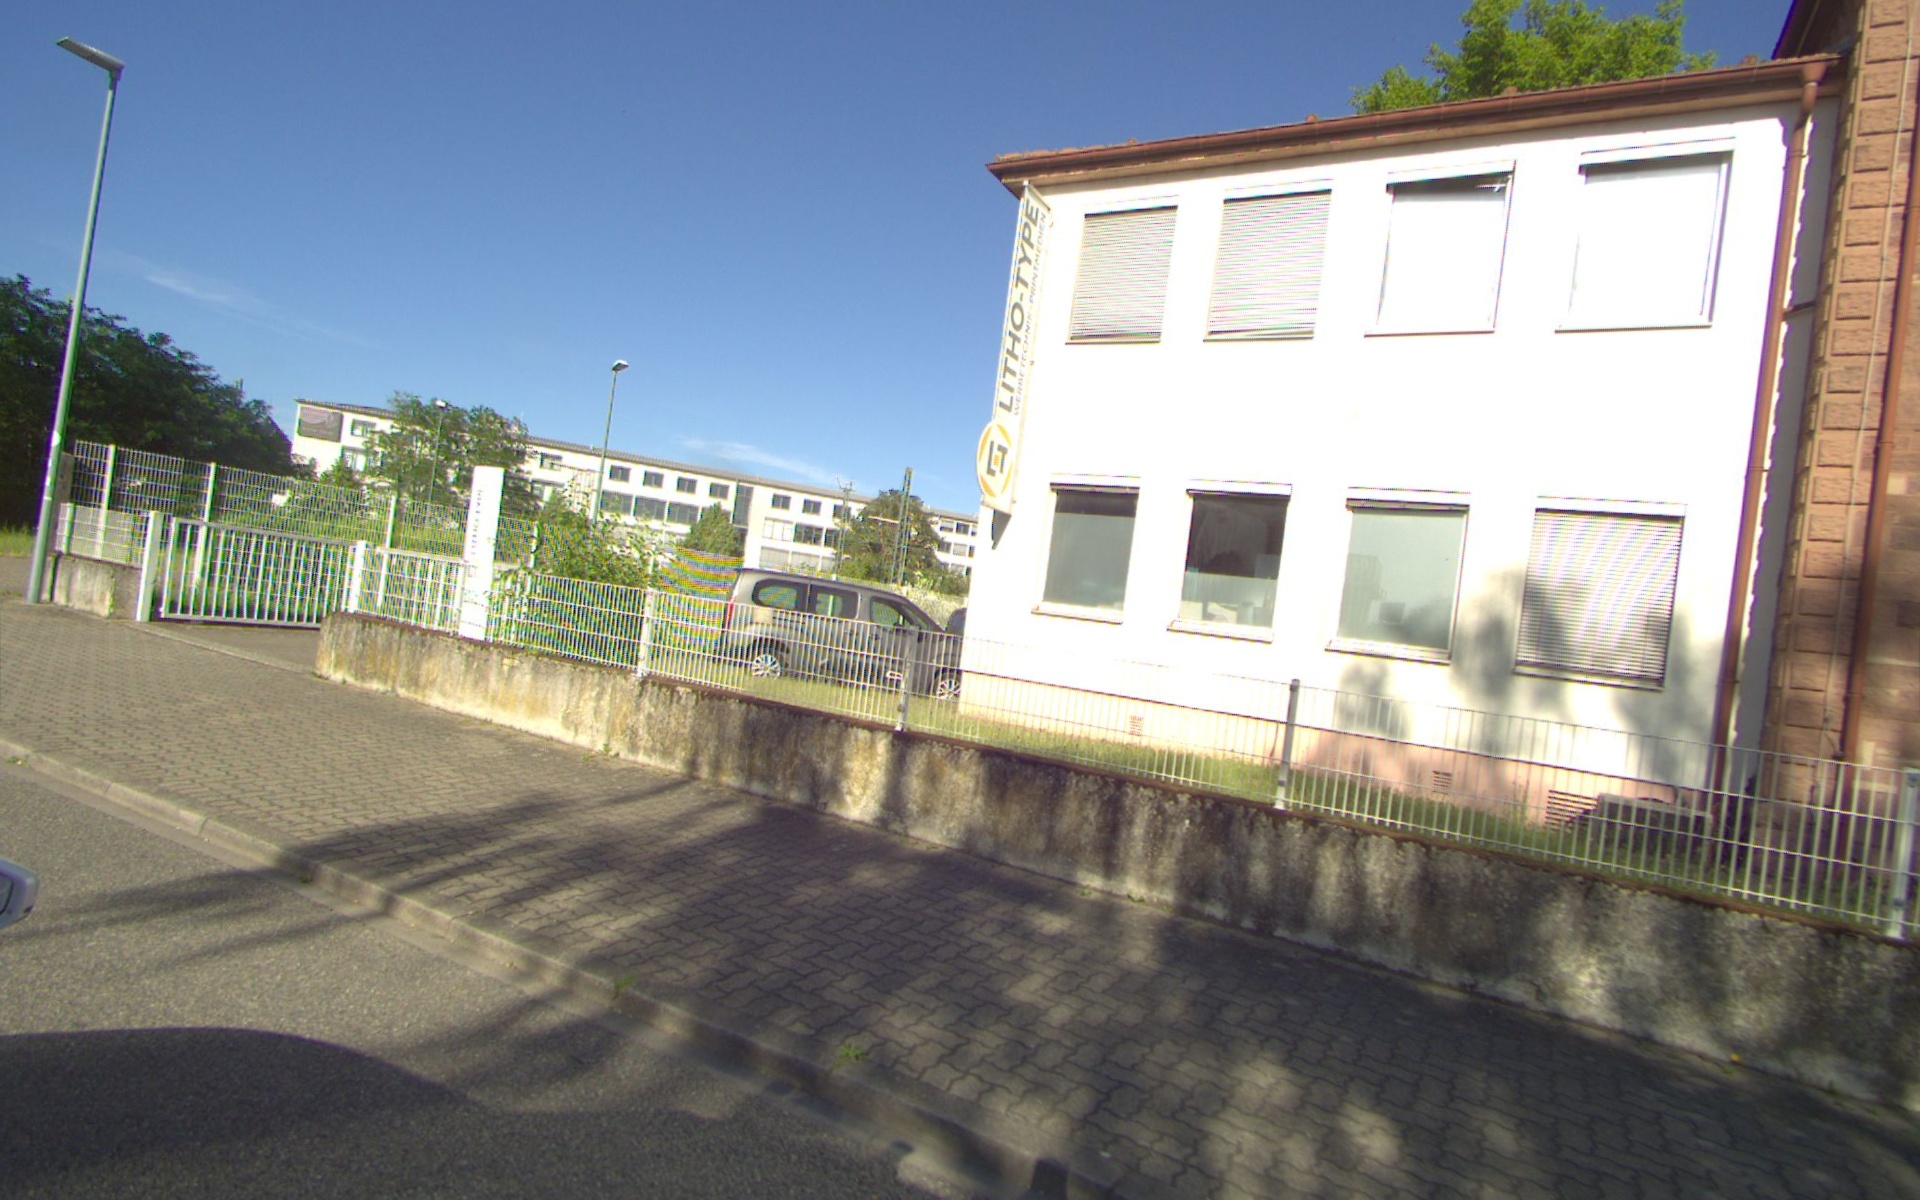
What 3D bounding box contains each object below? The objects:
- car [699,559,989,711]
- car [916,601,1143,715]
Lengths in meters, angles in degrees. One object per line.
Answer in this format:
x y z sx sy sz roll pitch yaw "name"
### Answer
-1.943 0.567 16.520 4.296 1.799 1.995 8 -1 -13 "car"
1.439 1.218 21.567 4.296 1.799 1.995 8 -1 -13 "car"
